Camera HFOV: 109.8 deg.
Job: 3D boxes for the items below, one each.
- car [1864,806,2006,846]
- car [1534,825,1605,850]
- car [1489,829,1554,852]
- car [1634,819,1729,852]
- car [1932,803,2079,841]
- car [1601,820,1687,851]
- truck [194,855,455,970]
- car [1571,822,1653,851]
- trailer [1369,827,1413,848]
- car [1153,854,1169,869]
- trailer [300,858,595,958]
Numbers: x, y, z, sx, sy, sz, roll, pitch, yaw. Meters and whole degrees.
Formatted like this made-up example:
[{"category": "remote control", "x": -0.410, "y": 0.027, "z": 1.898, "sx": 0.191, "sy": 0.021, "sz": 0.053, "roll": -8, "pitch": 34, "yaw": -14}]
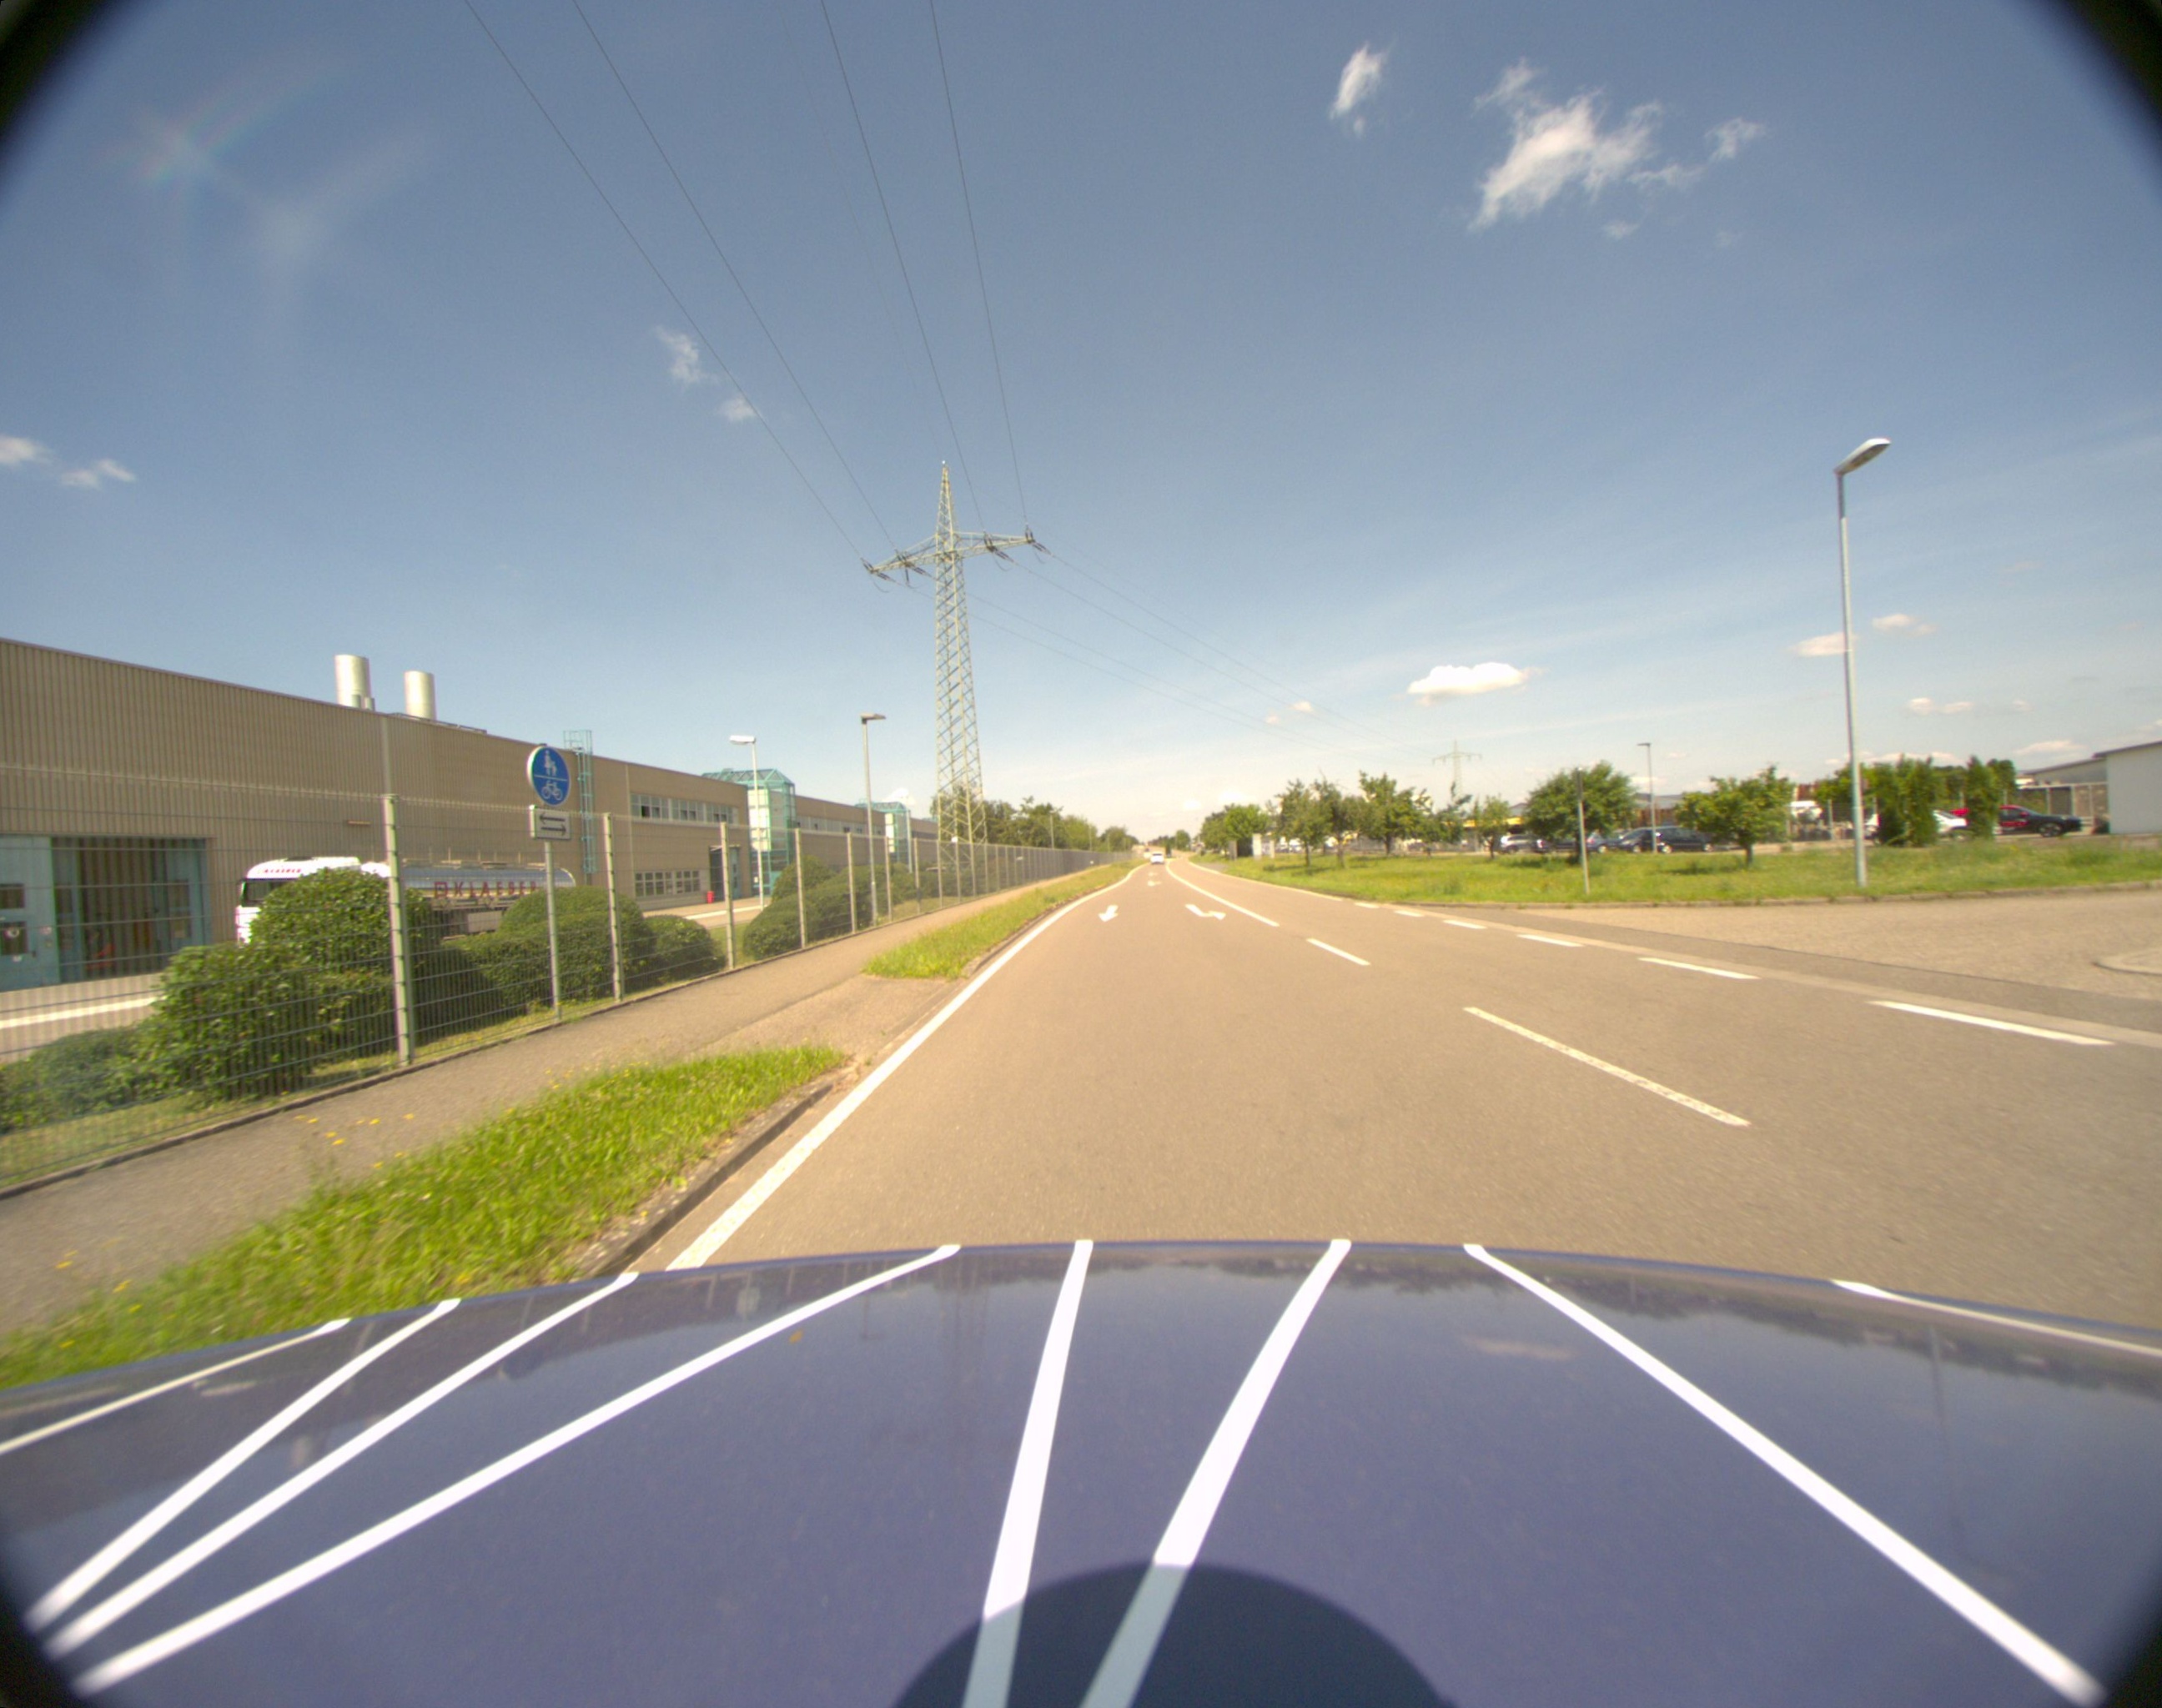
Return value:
[{"category": "car", "x": 41.053, "y": -1.314, "z": 36.625, "sx": 2.003, "sy": 1.630, "sz": 4.161, "roll": -4, "pitch": 0, "yaw": -29}, {"category": "car", "x": 35.447, "y": -1.190, "z": 55.188, "sx": 3.997, "sy": 1.546, "sz": 1.666, "roll": -4, "pitch": 0, "yaw": 1}, {"category": "car", "x": 35.689, "y": -1.114, "z": 61.674, "sx": 3.997, "sy": 1.519, "sz": 2.000, "roll": -5, "pitch": 0, "yaw": 1}, {"category": "car", "x": 36.048, "y": -1.091, "z": 45.693, "sx": 3.997, "sy": 1.630, "sz": 2.000, "roll": -4, "pitch": 0, "yaw": 1}, {"category": "car", "x": 44.369, "y": -1.514, "z": 36.562, "sx": 2.003, "sy": 1.519, "sz": 4.161, "roll": -4, "pitch": 0, "yaw": -29}, {"category": "car", "x": 35.644, "y": -1.161, "z": 48.165, "sx": 3.997, "sy": 1.630, "sz": 1.858, "roll": -4, "pitch": 0, "yaw": 1}, {"category": "truck", "x": -28.585, "y": 2.010, "z": 29.290, "sx": 3.604, "sy": 3.844, "sz": 6.406, "roll": -2, "pitch": 0, "yaw": -2}, {"category": "car", "x": 35.451, "y": -1.163, "z": 50.805, "sx": 3.997, "sy": 1.630, "sz": 2.000, "roll": -4, "pitch": 0, "yaw": 1}, {"category": "trailer", "x": 48.340, "y": -2.596, "z": 118.691, "sx": 5.576, "sy": 2.809, "sz": 2.740, "roll": -4, "pitch": 0, "yaw": -1}, {"category": "car", "x": 11.691, "y": 1.088, "z": 110.437, "sx": 1.997, "sy": 1.904, "sz": 4.002, "roll": -3, "pitch": 1, "yaw": 9}, {"category": "trailer", "x": -28.691, "y": 2.147, "z": 35.852, "sx": 3.600, "sy": 3.713, "sz": 12.237, "roll": -2, "pitch": 0, "yaw": 0}]
